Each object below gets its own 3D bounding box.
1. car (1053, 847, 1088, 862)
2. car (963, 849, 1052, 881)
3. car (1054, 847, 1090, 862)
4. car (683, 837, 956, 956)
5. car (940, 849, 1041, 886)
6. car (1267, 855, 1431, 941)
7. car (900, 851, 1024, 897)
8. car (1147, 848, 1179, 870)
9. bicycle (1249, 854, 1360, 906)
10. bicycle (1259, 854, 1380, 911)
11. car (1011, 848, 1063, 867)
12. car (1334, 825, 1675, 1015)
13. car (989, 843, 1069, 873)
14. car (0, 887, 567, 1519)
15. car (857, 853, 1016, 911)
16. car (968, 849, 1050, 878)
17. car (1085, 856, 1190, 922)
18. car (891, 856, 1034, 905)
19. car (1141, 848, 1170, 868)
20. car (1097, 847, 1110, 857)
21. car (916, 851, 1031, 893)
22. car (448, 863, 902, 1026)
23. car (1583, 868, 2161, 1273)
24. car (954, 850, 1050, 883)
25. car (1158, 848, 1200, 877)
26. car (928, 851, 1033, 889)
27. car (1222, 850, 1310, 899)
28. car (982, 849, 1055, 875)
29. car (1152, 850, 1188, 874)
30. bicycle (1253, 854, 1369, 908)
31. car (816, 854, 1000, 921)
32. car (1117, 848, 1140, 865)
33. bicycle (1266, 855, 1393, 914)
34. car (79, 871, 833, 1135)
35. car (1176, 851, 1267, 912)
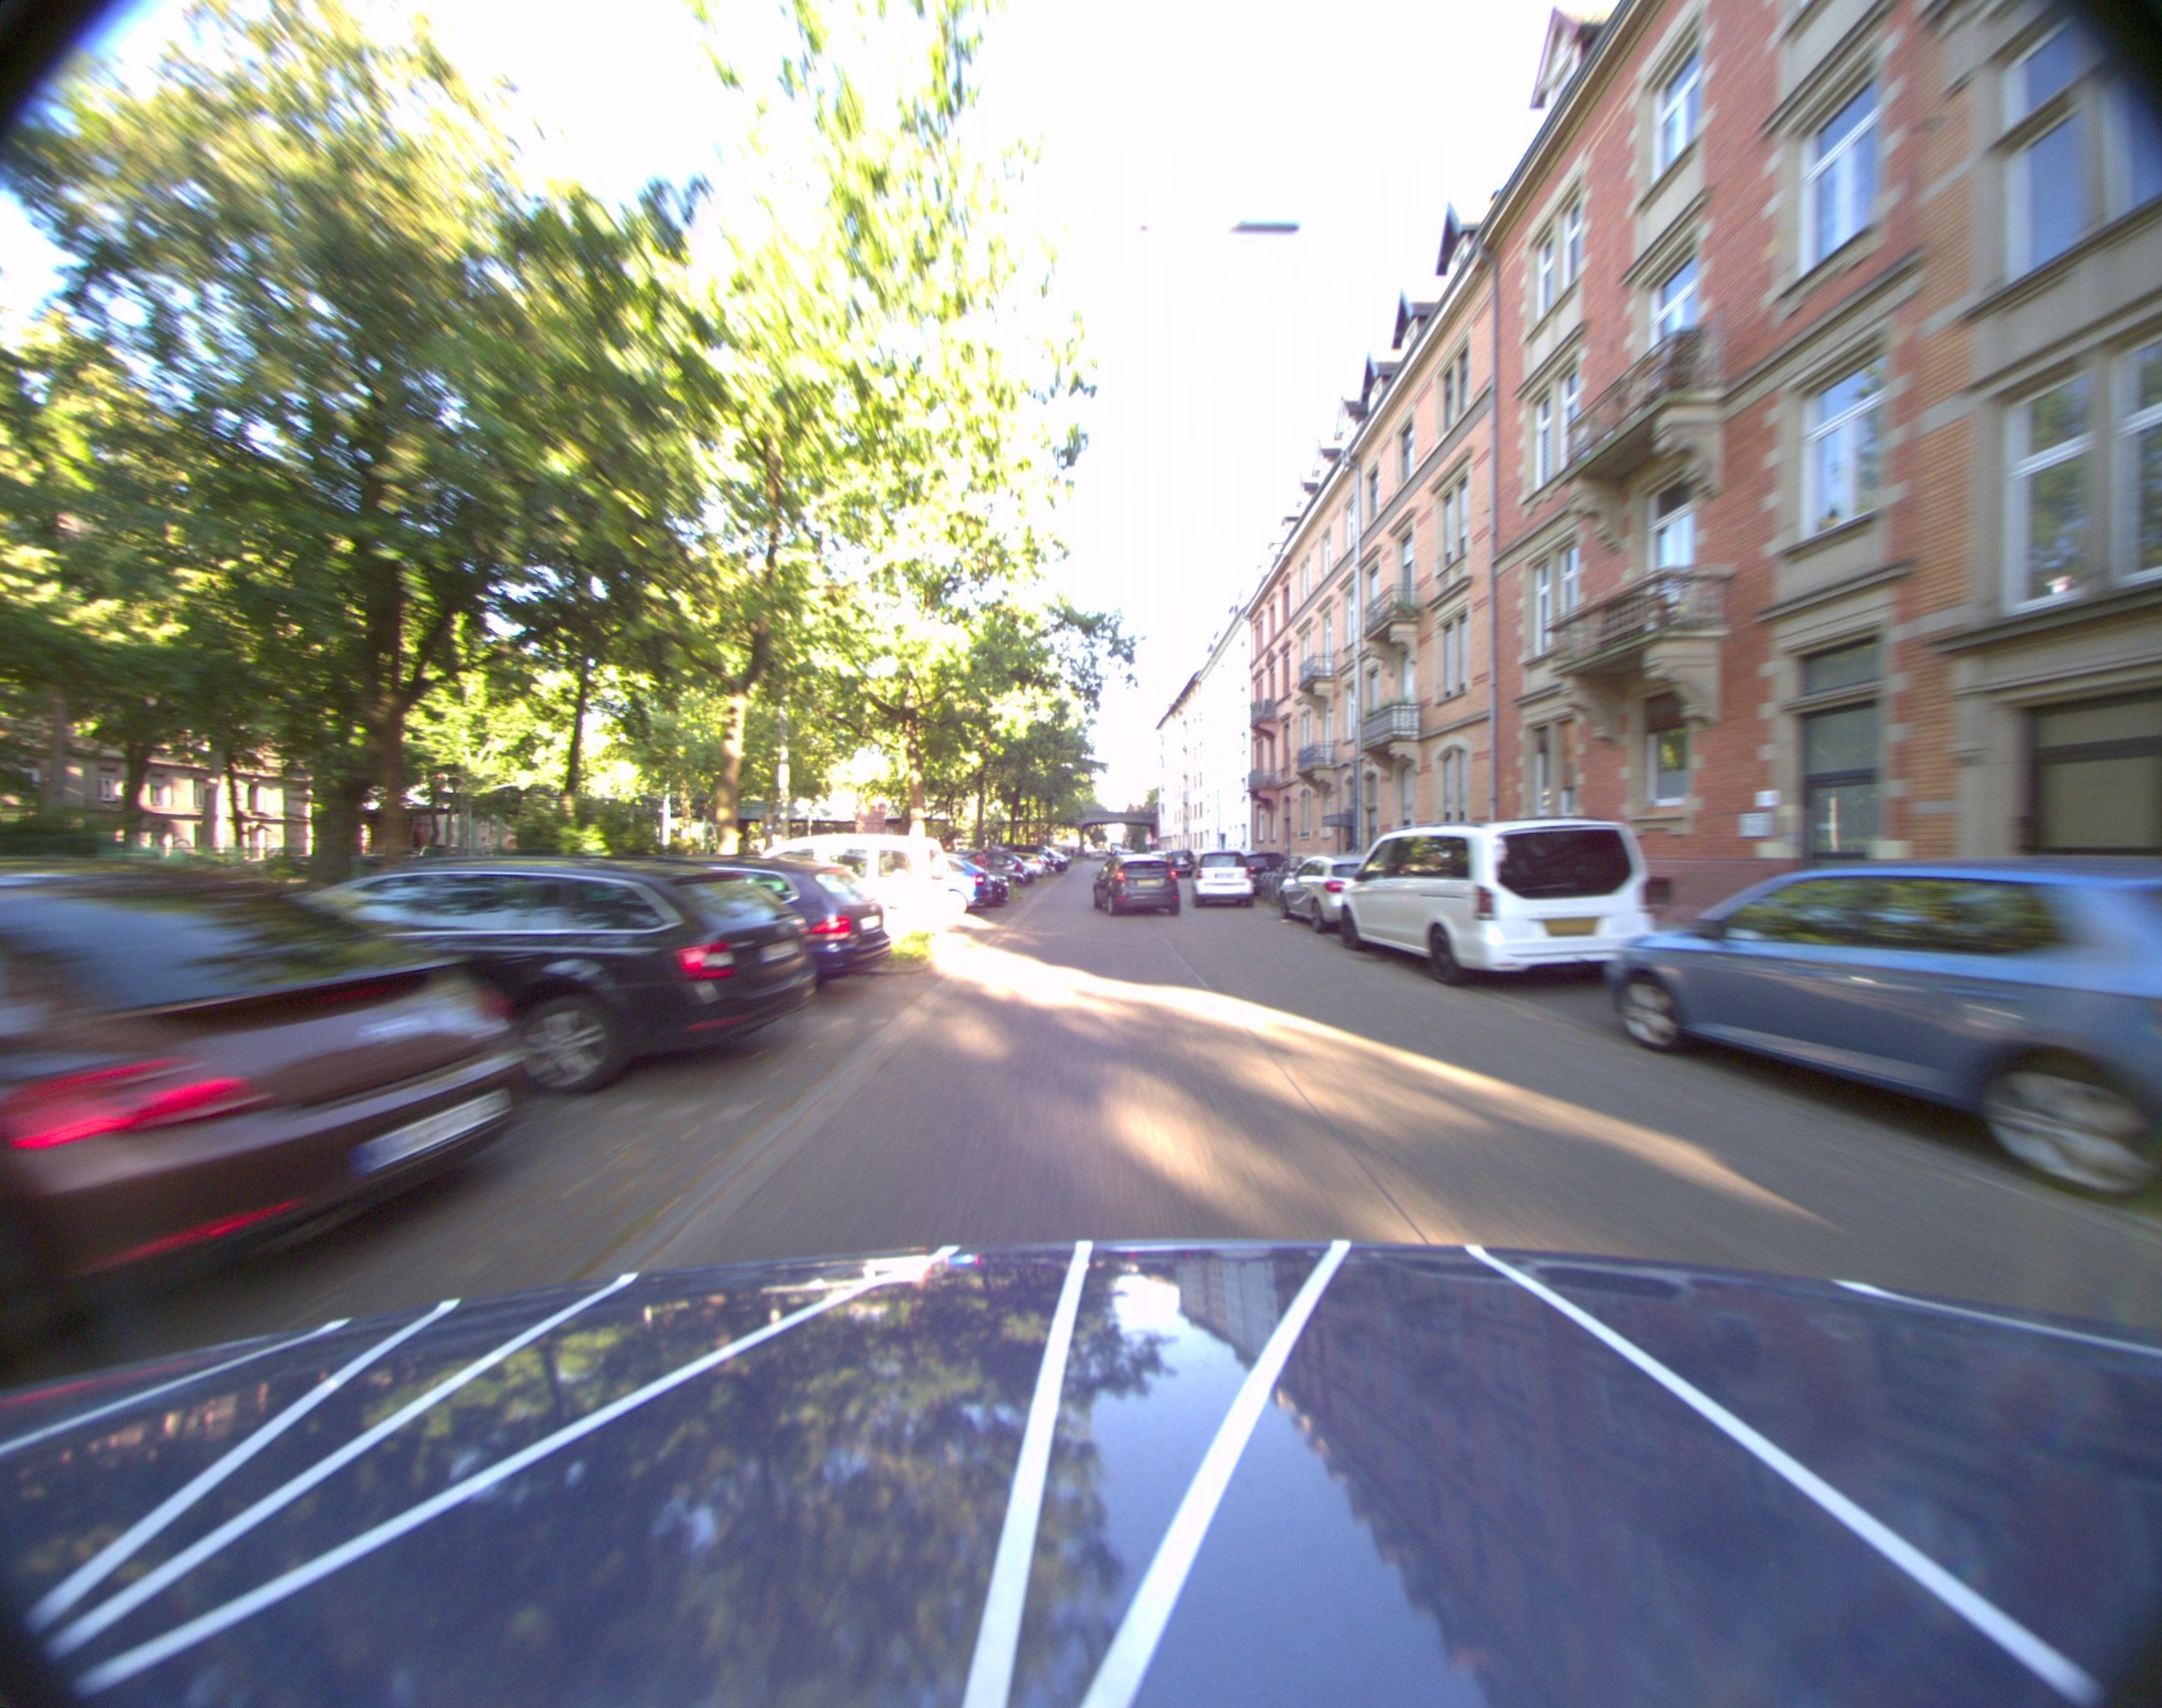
[{"bbox_3d":[-1.345,0.031,97.126,4.389,1.676,1.882,-2,1,1],"label":"car"},{"bbox_3d":[-3.618,0.531,37.846,4.262,1.480,1.684,1,1,1],"label":"car"},{"bbox_3d":[-1.157,0.049,94.856,4.389,1.676,1.882,-2,1,1],"label":"car"},{"bbox_3d":[-4.267,0.664,12.817,3.996,1.822,1.684,1,1,1],"label":"car"},{"bbox_3d":[-3.911,0.574,33.258,4.130,1.513,1.684,1,1,1],"label":"car"},{"bbox_3d":[5.340,0.803,15.820,1.880,1.433,4.392,-2,0,1],"label":"car"},{"bbox_3d":[-4.073,0.677,26.357,3.996,1.480,1.684,1,1,1],"label":"car"},{"bbox_3d":[5.831,0.352,54.521,1.880,1.433,4.392,-2,0,1],"label":"car"},{"bbox_3d":[6.612,0.748,22.596,3.043,1.476,0.817,1,1,2],"label":"bicycle"},{"bbox_3d":[6.507,0.772,20.853,3.043,1.476,0.817,1,1,2],"label":"bicycle"},{"bbox_3d":[-3.642,0.283,63.237,4.130,1.480,1.684,1,1,1],"label":"car"},{"bbox_3d":[5.088,0.657,10.077,1.912,1.872,4.725,-2,0,1],"label":"car"},{"bbox_3d":[-3.367,0.249,50.164,5.095,1.831,1.832,1,1,1],"label":"car"},{"bbox_3d":[-4.454,0.916,2.801,3.996,1.480,1.684,1,1,1],"label":"car"},{"bbox_3d":[-3.885,0.731,20.878,3.996,1.480,1.684,1,1,1],"label":"car"},{"bbox_3d":[-3.806,0.505,40.515,4.130,1.480,1.684,1,1,1],"label":"car"},{"bbox_3d":[1.320,0.797,19.611,1.882,1.422,4.390,-2,0,-6],"label":"car"},{"bbox_3d":[-3.491,0.769,22.851,3.996,1.331,1.684,1,1,1],"label":"car"},{"bbox_3d":[5.850,0.286,60.338,1.880,1.433,4.392,-2,0,1],"label":"car"},{"bbox_3d":[3.487,-0.259,117.416,1.880,1.433,4.392,-2,0,1],"label":"car"},{"bbox_3d":[-3.943,0.650,28.319,3.996,1.480,1.684,1,1,1],"label":"car"},{"bbox_3d":[-4.139,0.882,8.194,3.996,1.480,1.684,1,1,1],"label":"car"},{"bbox_3d":[5.099,0.876,4.447,1.767,1.430,3.888,-2,0,1],"label":"car"},{"bbox_3d":[-3.627,0.557,35.540,4.262,1.480,1.684,1,1,1],"label":"car"},{"bbox_3d":[5.697,0.475,44.548,1.880,1.560,4.392,-2,0,1],"label":"car"},{"bbox_3d":[-4.024,0.626,30.781,3.996,1.480,1.684,1,1,1],"label":"car"},{"bbox_3d":[6.000,0.611,25.220,1.880,1.433,4.392,-2,0,1],"label":"car"},{"bbox_3d":[-3.697,0.449,45.164,4.130,1.480,1.684,1,1,1],"label":"car"},{"bbox_3d":[5.752,0.499,49.755,1.880,1.433,4.392,-2,0,1],"label":"car"},{"bbox_3d":[6.544,0.761,21.738,3.043,1.476,0.817,1,1,2],"label":"bicycle"},{"bbox_3d":[-4.070,0.767,18.269,3.996,1.480,1.684,1,1,1],"label":"car"},{"bbox_3d":[4.372,0.233,70.249,1.880,1.433,4.392,-2,0,1],"label":"car"},{"bbox_3d":[6.499,0.782,19.989,3.043,1.476,0.817,1,1,2],"label":"bicycle"},{"bbox_3d":[-4.056,0.910,5.414,3.996,1.480,1.684,1,1,1],"label":"car"},{"bbox_3d":[3.960,0.720,22.128,1.880,1.527,4.392,-2,0,1],"label":"car"}]
